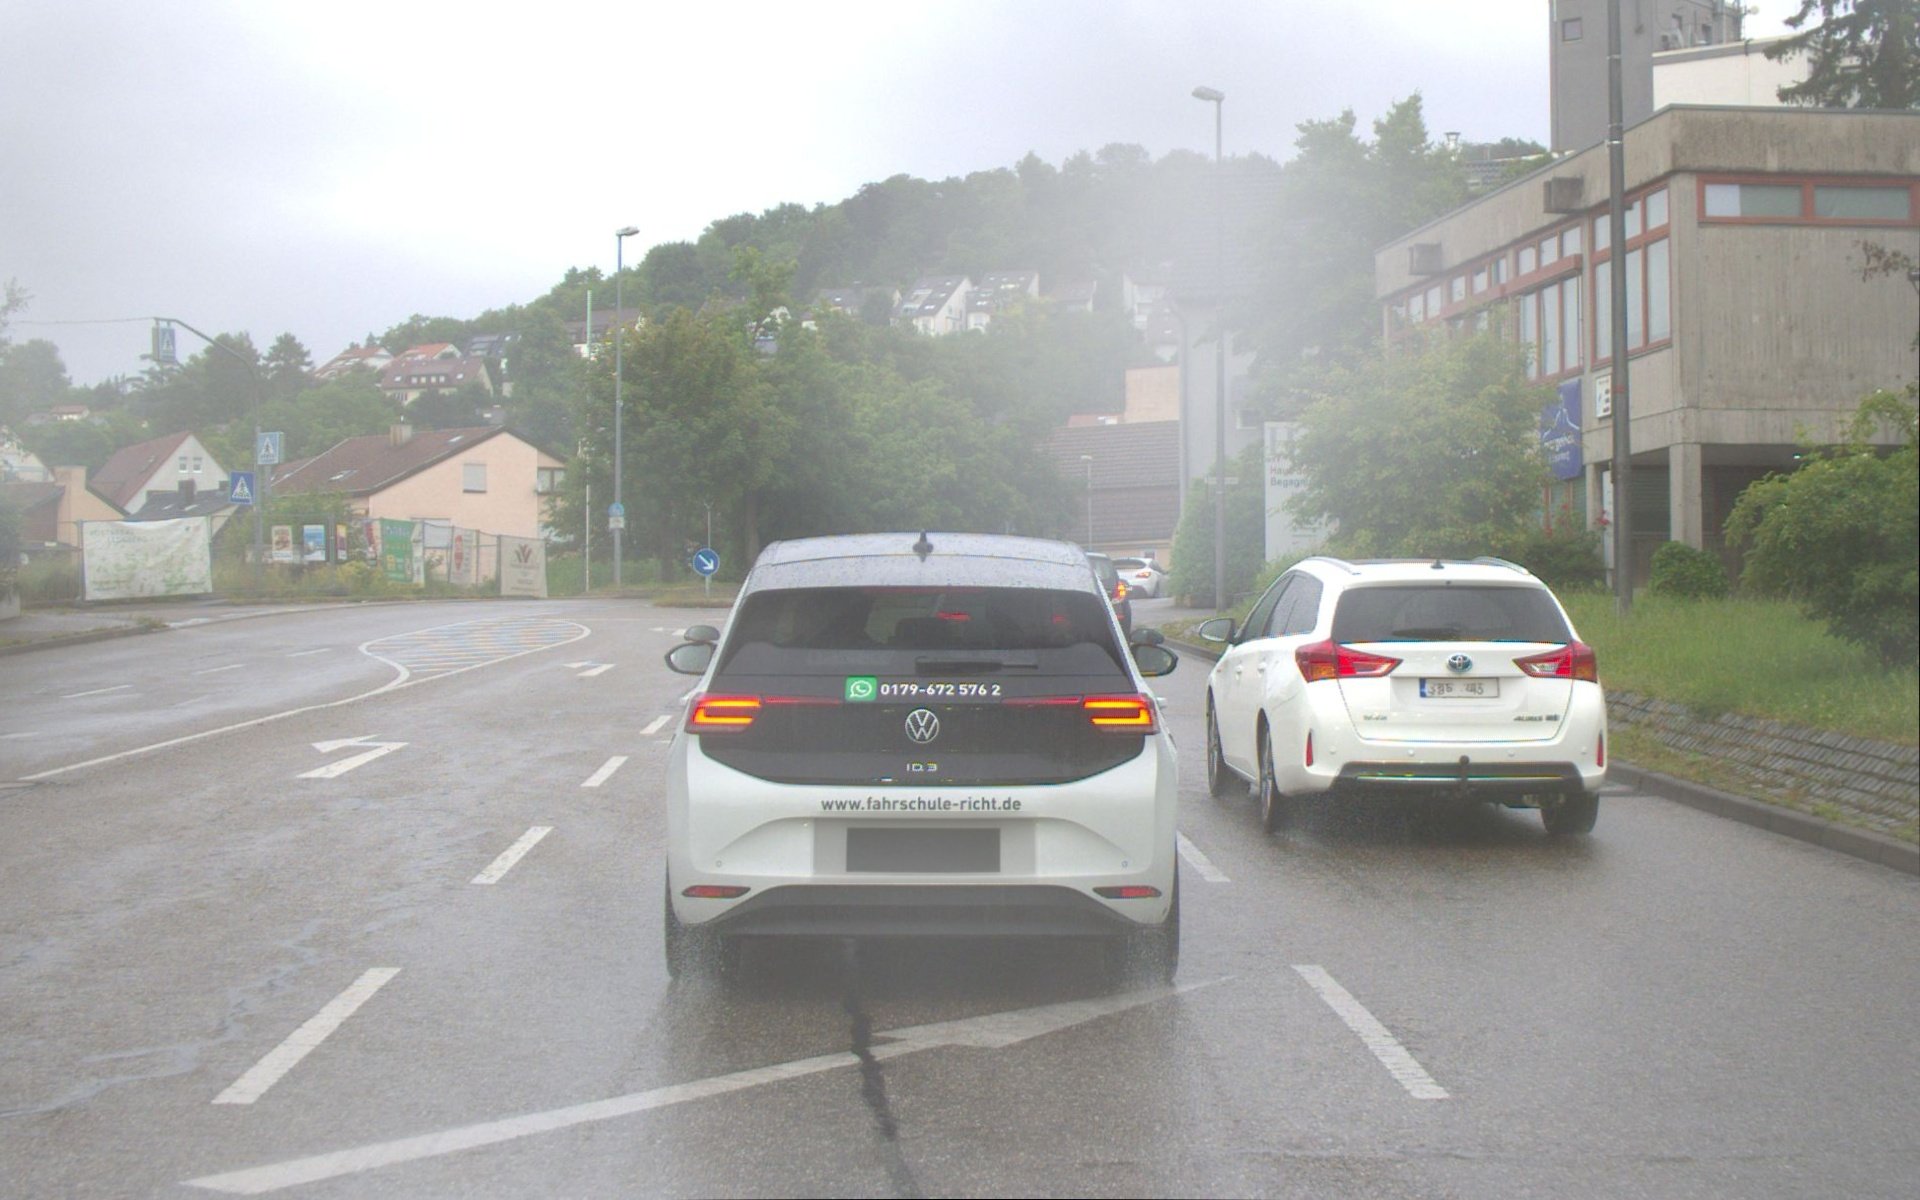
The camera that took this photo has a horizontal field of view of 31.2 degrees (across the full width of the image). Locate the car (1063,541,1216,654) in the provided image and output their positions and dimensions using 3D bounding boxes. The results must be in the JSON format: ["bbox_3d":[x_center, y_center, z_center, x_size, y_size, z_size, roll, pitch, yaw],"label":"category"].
[{"bbox_3d":[2.496,-0.037,48.235,1.994,1.448,3.770,-2,0,2],"label":"car"}]

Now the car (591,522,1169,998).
[{"bbox_3d":[-0.172,0.501,12.993,1.829,1.495,4.168,0,0,2],"label":"car"}]

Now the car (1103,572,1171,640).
[{"bbox_3d":[5.408,0.183,105.568,1.994,2.007,4.000,1,0,2],"label":"car"}]

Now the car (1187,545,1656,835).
[{"bbox_3d":[2.397,0.437,18.928,1.848,1.405,4.302,0,0,-2],"label":"car"}]

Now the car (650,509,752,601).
[{"bbox_3d":[-5.911,-1.009,78.810,1.993,2.007,4.000,1,0,0],"label":"car"}]

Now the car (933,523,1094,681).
[{"bbox_3d":[0.511,-0.019,35.310,1.567,1.525,4.000,0,1,0],"label":"car"}]
